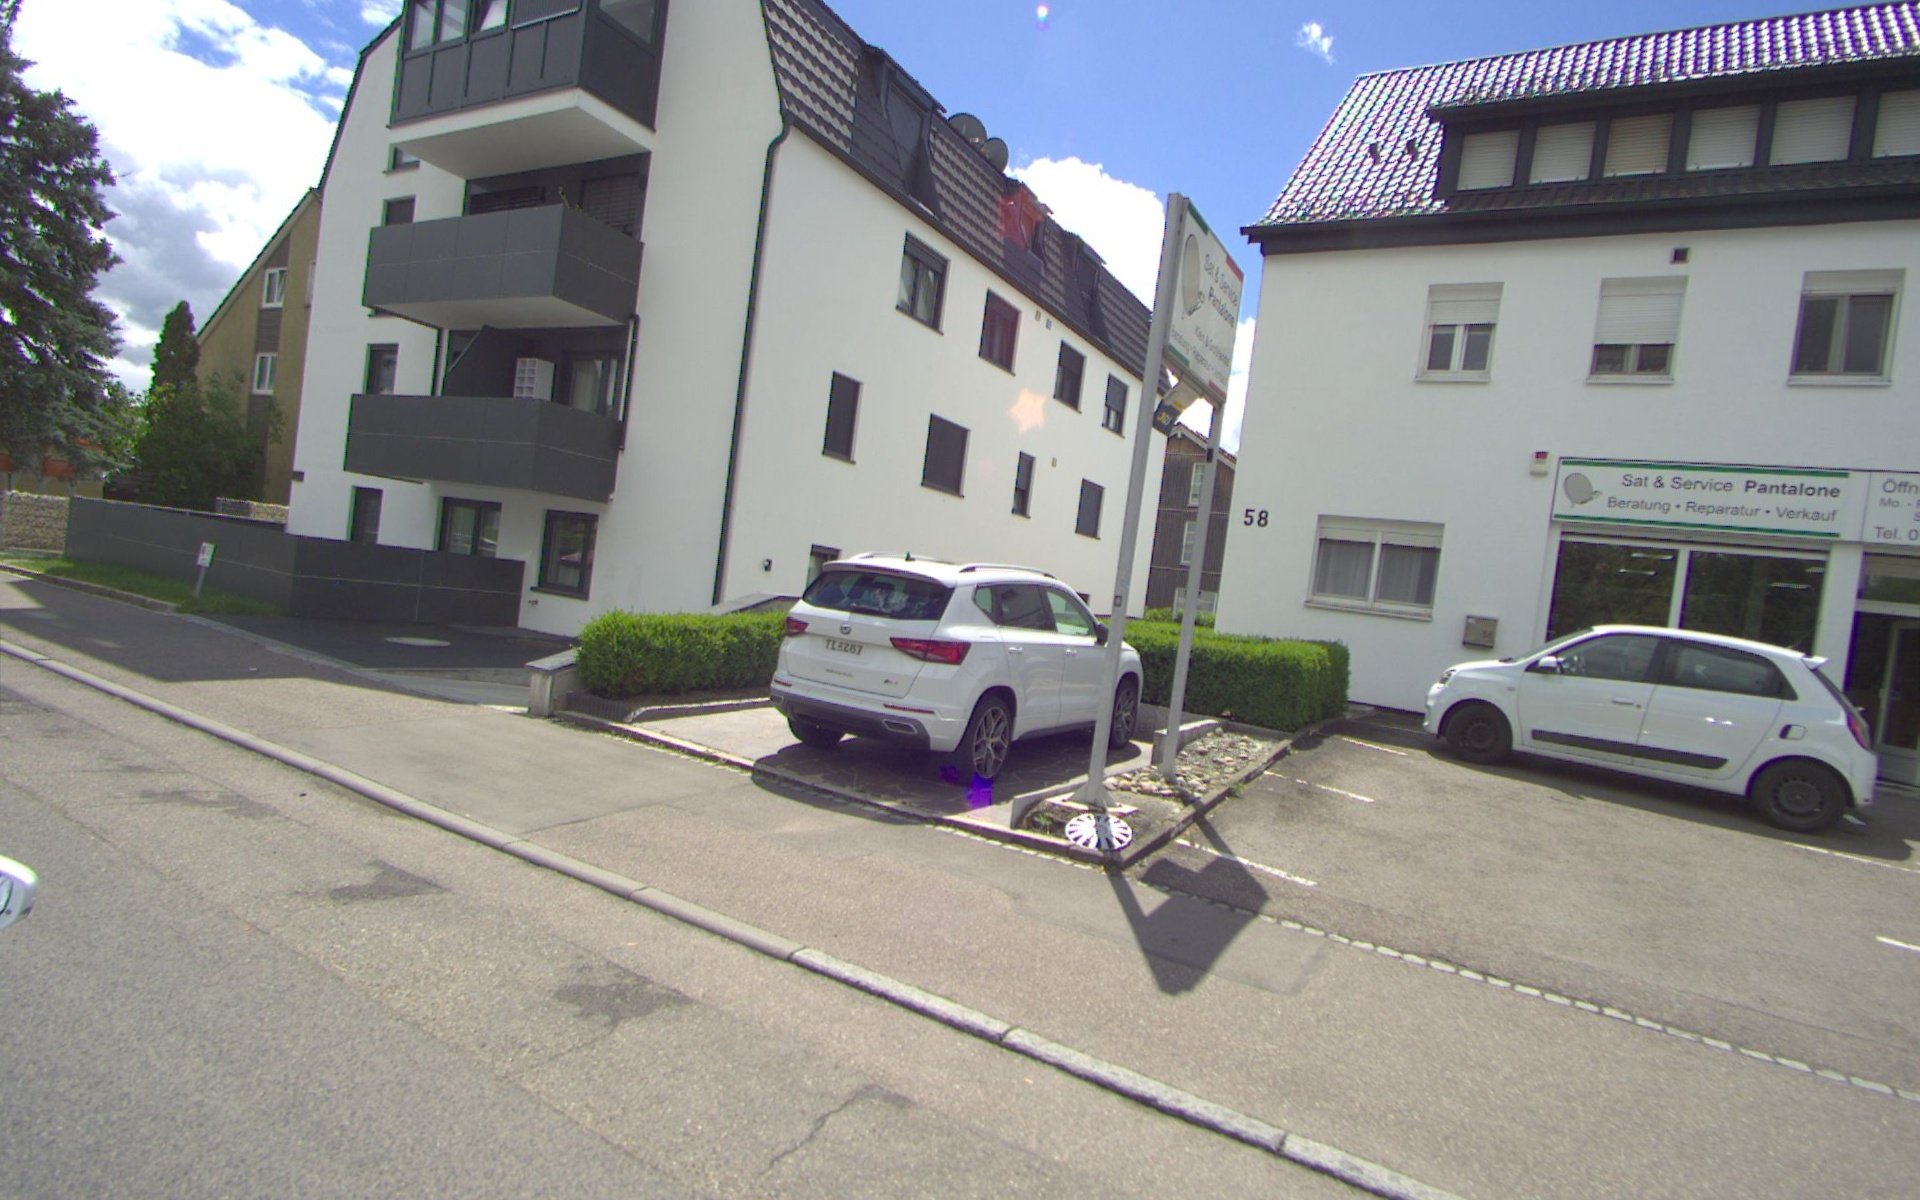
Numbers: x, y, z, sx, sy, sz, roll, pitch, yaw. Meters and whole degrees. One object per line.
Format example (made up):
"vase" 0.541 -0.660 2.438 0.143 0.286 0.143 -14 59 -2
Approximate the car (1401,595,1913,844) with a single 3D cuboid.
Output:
"car" 6.456 0.961 9.658 3.610 1.540 1.628 9 5 39

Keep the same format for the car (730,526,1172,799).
"car" 0.197 0.403 8.856 1.836 1.677 4.191 7 3 31
